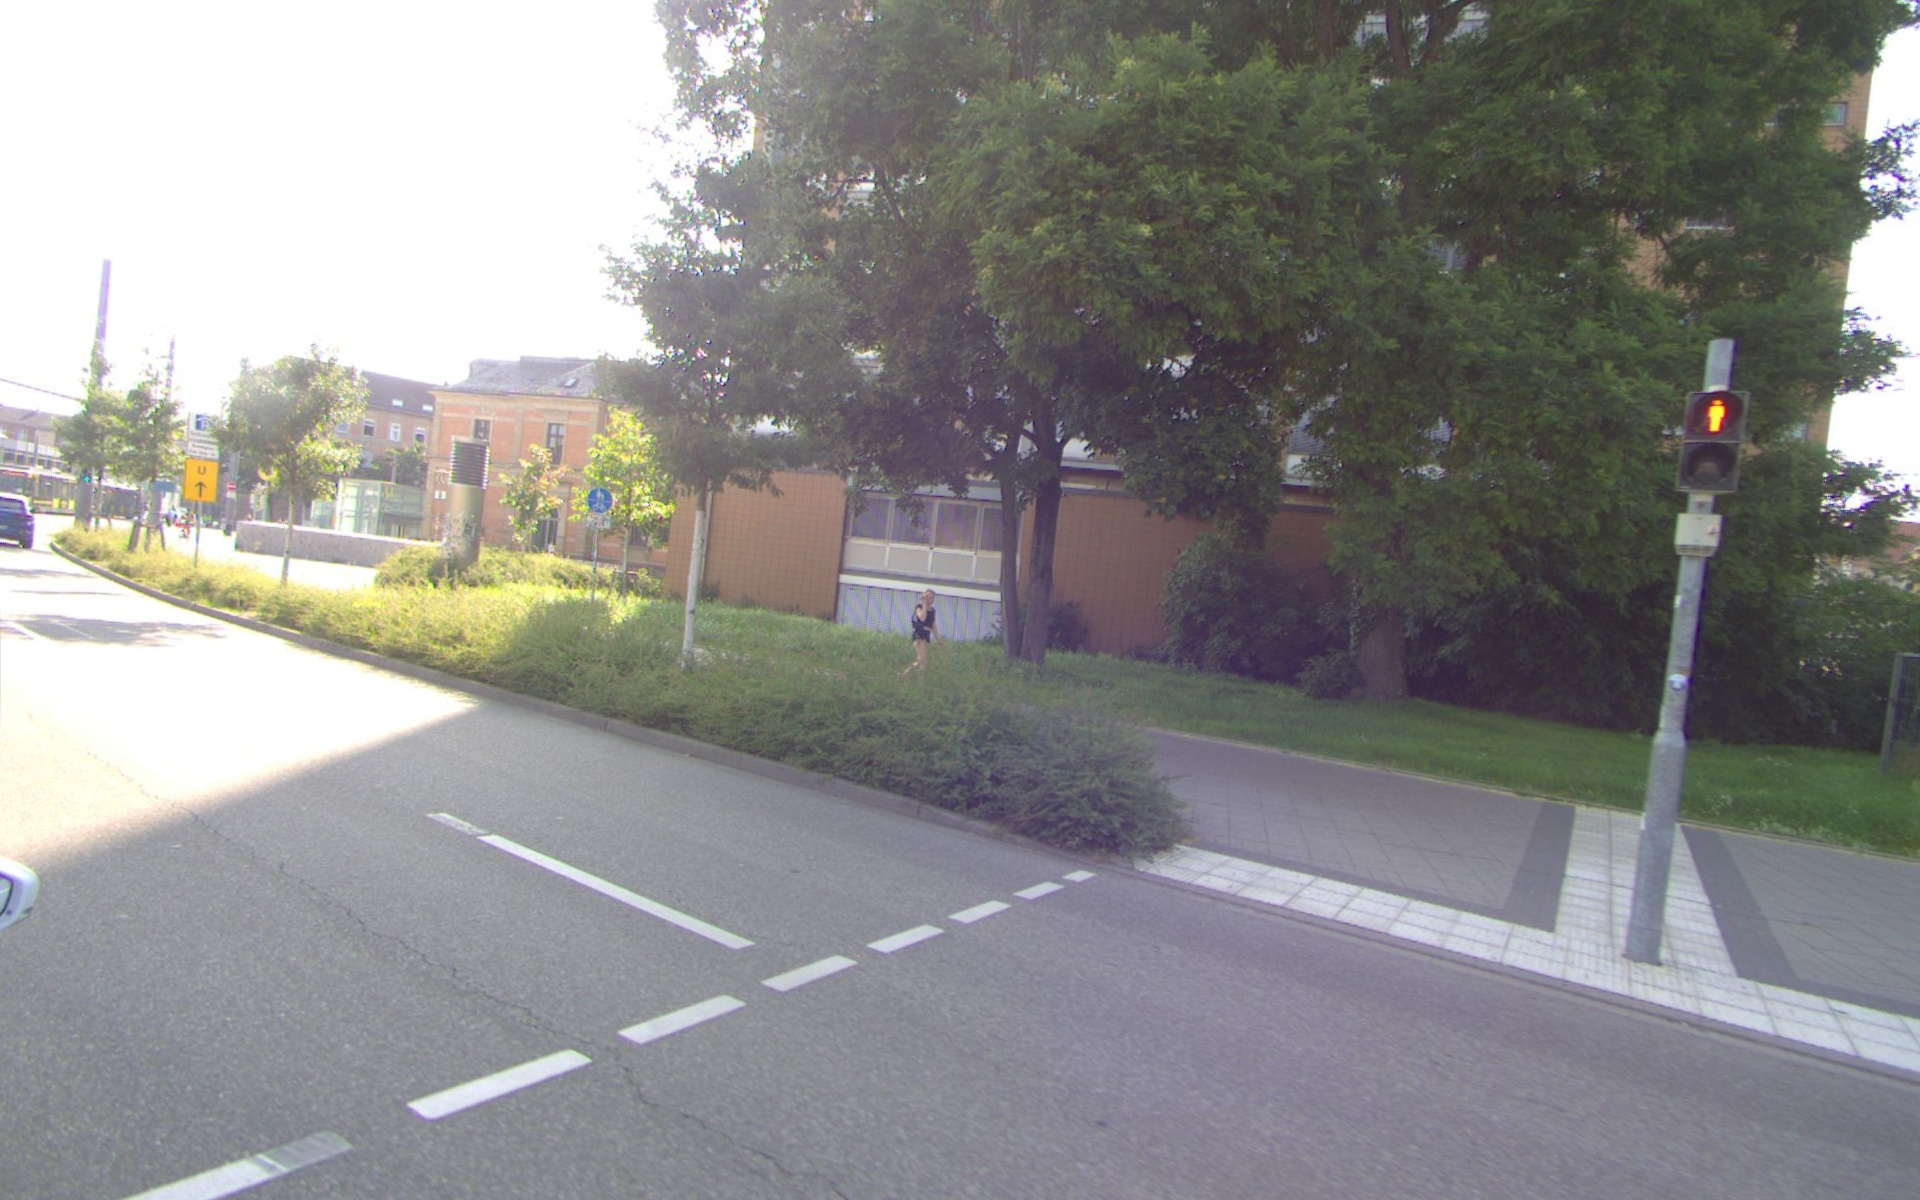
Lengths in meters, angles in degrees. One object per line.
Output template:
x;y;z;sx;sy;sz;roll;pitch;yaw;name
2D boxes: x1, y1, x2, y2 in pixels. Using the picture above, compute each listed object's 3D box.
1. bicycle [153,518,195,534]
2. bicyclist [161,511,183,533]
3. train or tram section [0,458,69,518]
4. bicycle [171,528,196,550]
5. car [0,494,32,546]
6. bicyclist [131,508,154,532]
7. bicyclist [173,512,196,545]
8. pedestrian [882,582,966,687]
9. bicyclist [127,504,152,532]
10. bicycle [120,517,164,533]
-67.547;-6.318;86.448;1.073;0.976;2.626;7;0;20;bicycle
-67.566;-6.696;86.256;1.073;1.701;0.936;7;1;20;bicyclist
-68.682;-8.160;73.878;2.634;3.746;10.503;6;0;-31;train or tram section
-38.544;-3.024;49.930;0.714;0.972;1.905;6;0;-31;bicycle
-30.343;-2.600;31.250;4.352;1.446;1.822;7;0;43;car
-68.005;-6.673;83.675;1.073;1.822;0.936;7;1;20;bicyclist
-38.454;-3.563;49.894;0.714;1.532;0.996;6;1;-33;bicyclist
-0.538;0.516;15.085;0.845;1.461;0.723;7;1;41;pedestrian
-66.673;-6.656;81.789;1.072;2.050;0.937;7;1;7;bicyclist
-68.050;-6.248;83.699;1.073;0.976;2.626;7;0;20;bicycle
